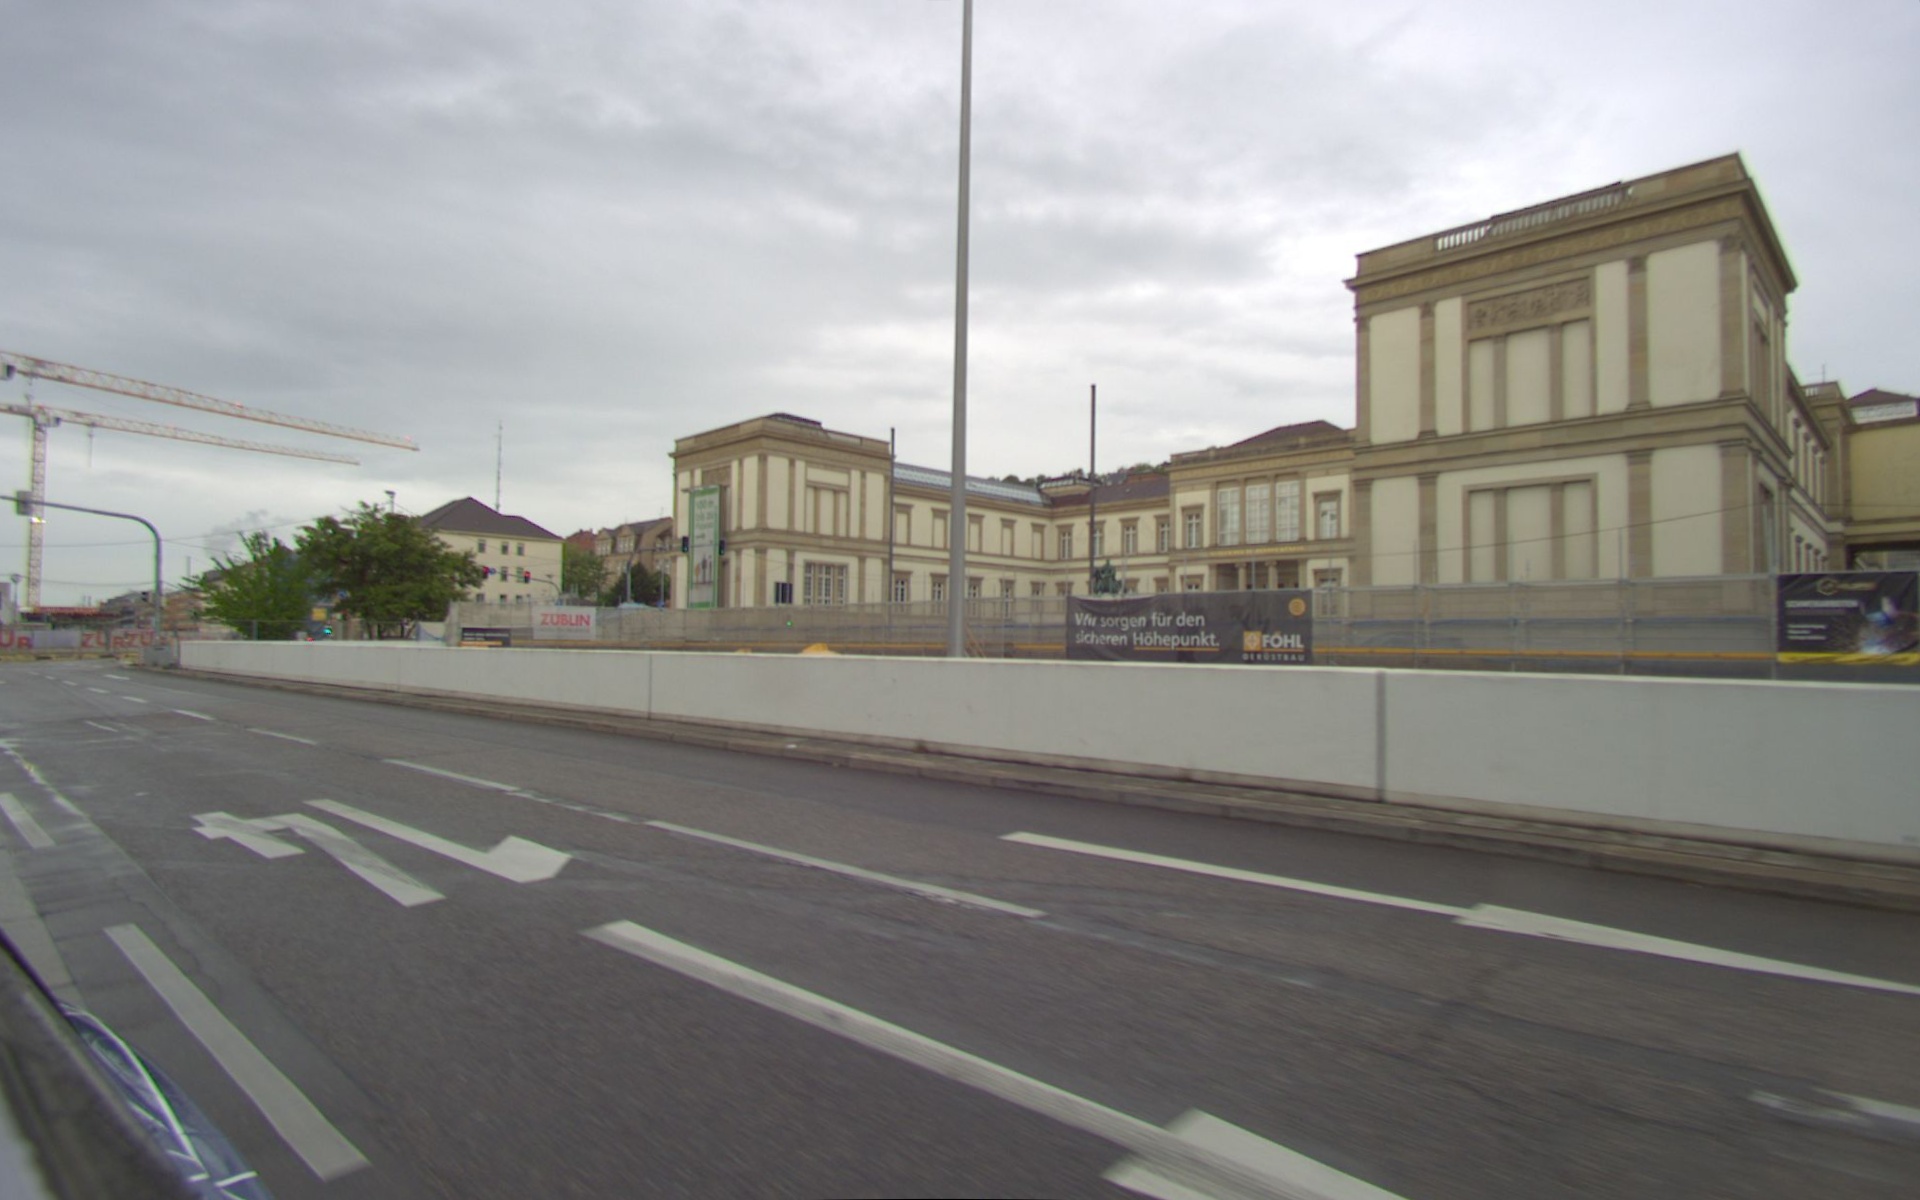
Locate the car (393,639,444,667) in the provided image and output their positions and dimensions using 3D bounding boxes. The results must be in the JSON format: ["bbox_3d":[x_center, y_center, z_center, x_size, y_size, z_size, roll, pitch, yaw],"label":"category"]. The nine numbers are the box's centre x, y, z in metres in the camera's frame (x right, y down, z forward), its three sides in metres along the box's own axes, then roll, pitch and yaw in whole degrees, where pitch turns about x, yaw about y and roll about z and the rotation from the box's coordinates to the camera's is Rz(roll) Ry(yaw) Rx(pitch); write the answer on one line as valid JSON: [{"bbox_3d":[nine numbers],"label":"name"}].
[{"bbox_3d":[-41.415,4.010,77.354,4.641,2.029,1.972,-1,-1,42],"label":"car"}]
